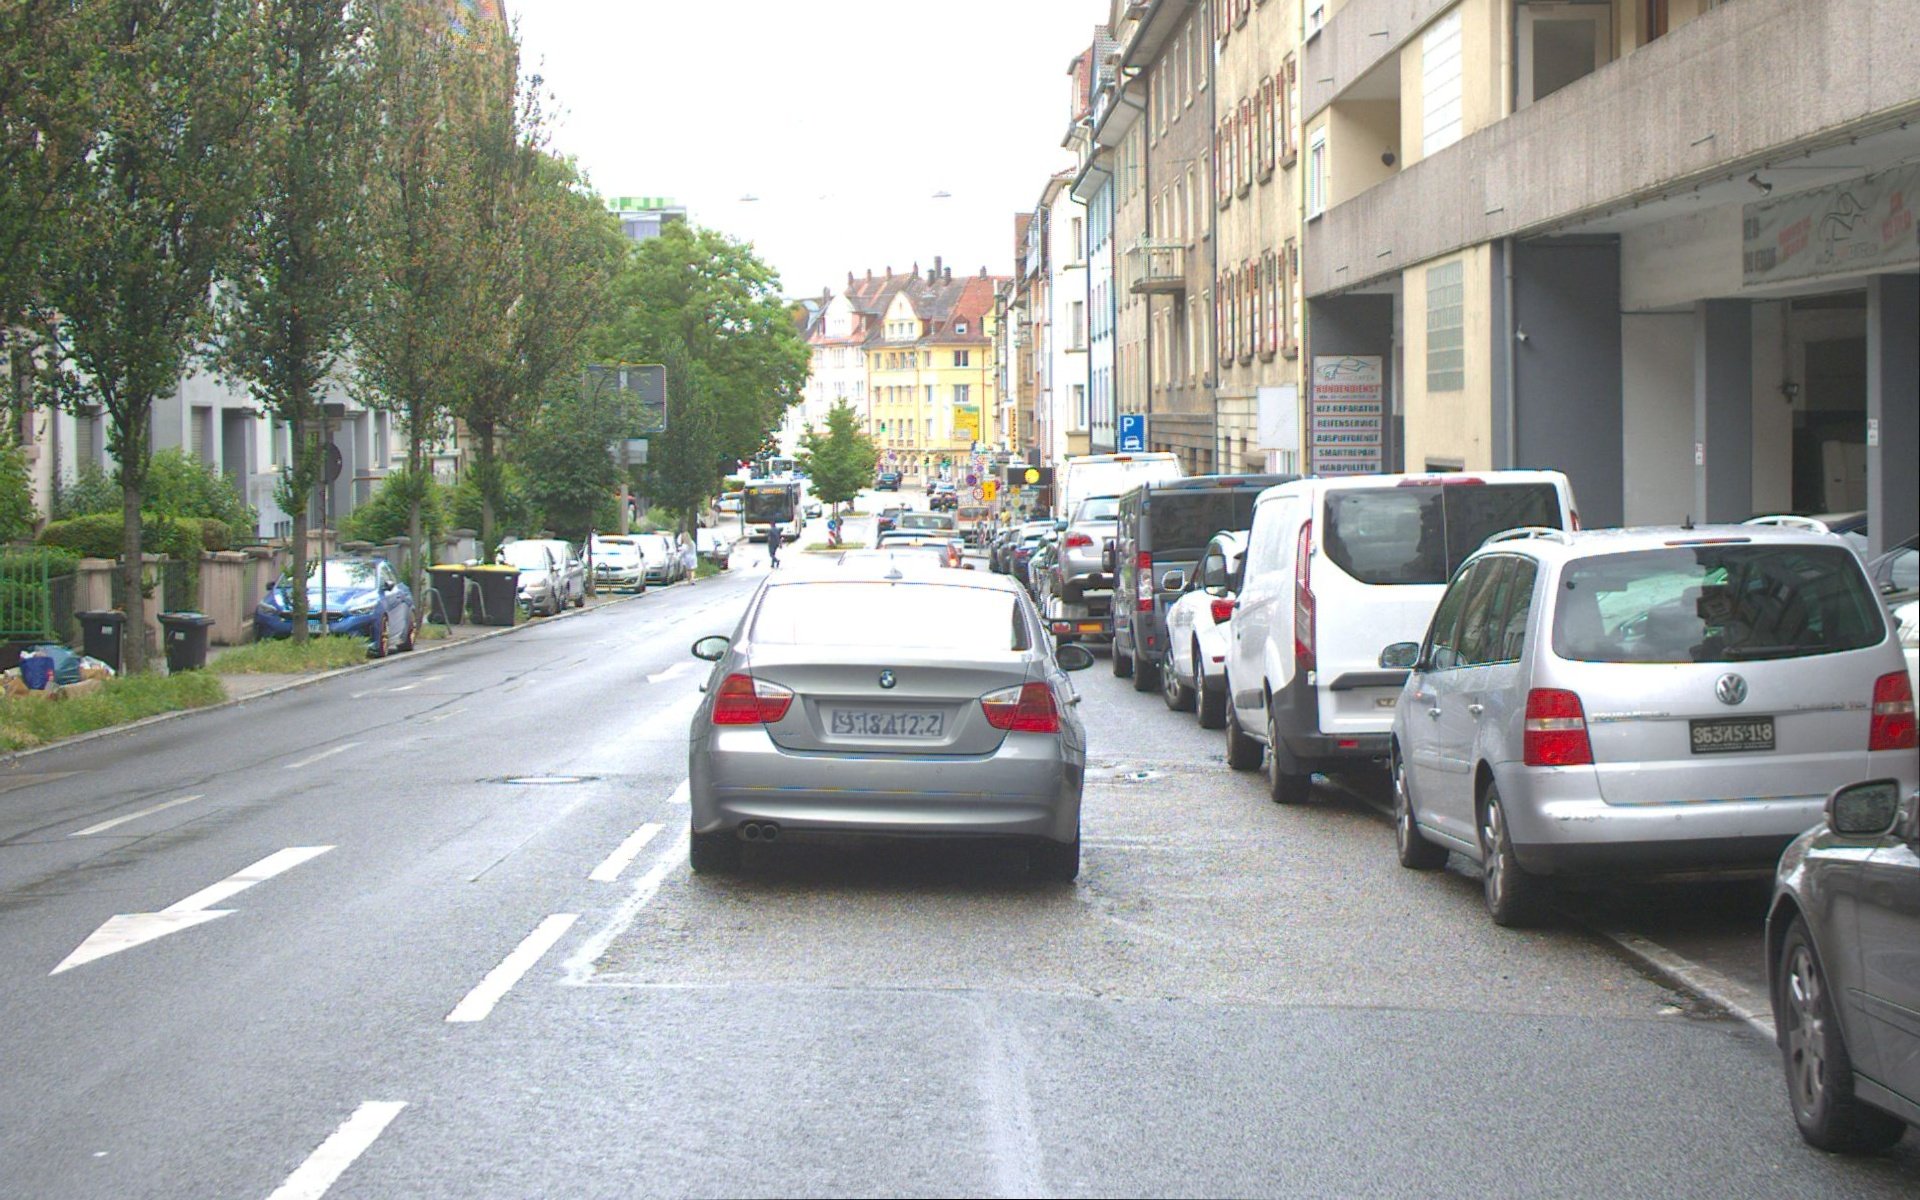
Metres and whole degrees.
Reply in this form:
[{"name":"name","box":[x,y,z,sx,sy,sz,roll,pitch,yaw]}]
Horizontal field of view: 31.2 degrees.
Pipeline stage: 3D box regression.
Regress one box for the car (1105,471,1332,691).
[{"name":"car","box":[2.700,-0.236,36.908,1.982,2.158,4.750,-1,1,-1]}]

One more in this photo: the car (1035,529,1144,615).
[{"name":"car","box":[2.311,-0.519,62.217,1.697,1.478,3.976,1,1,-1]}]

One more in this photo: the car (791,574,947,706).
[{"name":"car","box":[-1.028,0.439,40.561,1.682,1.423,3.741,1,1,1]}]

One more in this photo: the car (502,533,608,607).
[{"name":"car","box":[-9.002,-0.684,76.593,1.827,1.518,3.736,-2,1,1]}]

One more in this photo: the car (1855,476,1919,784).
[{"name":"car","box":[7.707,0.152,20.848,4.329,1.798,2.005,0,3,17]}]

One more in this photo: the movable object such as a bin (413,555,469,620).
[{"name":"movable object such as a bin","box":[-9.482,-0.240,62.819,0.902,1.164,0.895,0,1,0]}]

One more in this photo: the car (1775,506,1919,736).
[{"name":"car","box":[8.288,0.134,25.589,4.289,1.635,1.666,0,3,12]}]

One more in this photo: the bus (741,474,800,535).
[{"name":"bus","box":[-9.783,-4.907,177.996,2.668,3.014,7.671,-1,1,-1]}]

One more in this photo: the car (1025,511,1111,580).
[{"name":"car","box":[2.408,-1.227,77.337,1.697,1.478,3.976,1,1,-1]}]

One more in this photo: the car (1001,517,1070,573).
[{"name":"car","box":[2.079,-1.521,95.311,1.697,1.478,3.976,1,1,-1]}]

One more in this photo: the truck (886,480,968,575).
[{"name":"truck","box":[-0.898,-1.888,90.527,2.032,2.404,4.827,1,1,-1]}]

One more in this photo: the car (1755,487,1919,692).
[{"name":"car","box":[8.831,-0.110,28.609,4.289,1.635,1.666,0,3,12]}]

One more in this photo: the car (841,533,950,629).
[{"name":"car","box":[-1.057,-0.318,56.075,1.697,1.478,3.794,1,1,-1]}]

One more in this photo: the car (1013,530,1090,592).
[{"name":"car","box":[2.253,-0.977,85.478,1.697,1.478,3.976,1,1,-1]}]

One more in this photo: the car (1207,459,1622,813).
[{"name":"car","box":[2.796,0.165,22.206,1.982,2.000,4.625,-1,1,-1]}]

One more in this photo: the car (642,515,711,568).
[{"name":"car","box":[-8.525,-1.779,103.633,1.691,1.518,3.736,-2,1,1]}]

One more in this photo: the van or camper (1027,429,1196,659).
[{"name":"van or camper","box":[2.114,-0.788,47.443,2.033,2.859,6.884,3,1,3]}]

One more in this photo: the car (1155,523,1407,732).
[{"name":"car","box":[2.736,0.184,30.143,1.726,1.664,4.289,-1,1,-1]}]

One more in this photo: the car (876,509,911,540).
[{"name":"car","box":[-3.316,-3.762,171.987,1.697,1.478,3.794,-2,1,-1]}]

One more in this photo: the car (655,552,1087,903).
[{"name":"car","box":[-0.352,0.517,16.169,1.769,1.423,3.741,1,0,1]}]

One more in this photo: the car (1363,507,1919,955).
[{"name":"car","box":[2.977,0.462,15.419,1.726,1.664,4.289,-2,1,-1]}]

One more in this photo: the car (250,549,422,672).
[{"name":"car","box":[-8.842,0.108,48.982,1.766,1.588,4.001,-2,1,-2]}]

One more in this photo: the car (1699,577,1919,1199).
[{"name":"car","box":[3.066,0.700,7.349,1.900,1.473,4.799,-3,1,0]}]

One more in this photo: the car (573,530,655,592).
[{"name":"car","box":[-9.116,-1.044,90.784,1.691,1.518,3.736,-2,1,1]}]

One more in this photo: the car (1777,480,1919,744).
[{"name":"car","box":[7.822,0.047,23.463,4.327,1.720,1.908,0,3,12]}]

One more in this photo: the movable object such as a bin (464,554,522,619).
[{"name":"movable object such as a bin","box":[-8.520,-0.257,62.776,0.935,1.164,0.909,0,1,0]}]

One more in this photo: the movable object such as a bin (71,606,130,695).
[{"name":"movable object such as a bin","box":[-9.146,0.534,36.570,0.574,0.909,0.640,-2,1,-15]}]

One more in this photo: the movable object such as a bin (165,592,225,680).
[{"name":"movable object such as a bin","box":[-8.153,0.379,36.633,0.574,0.909,0.640,-2,1,-15]}]

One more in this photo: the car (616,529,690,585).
[{"name":"car","box":[-8.757,-1.242,98.181,1.691,1.518,3.736,-2,1,1]}]

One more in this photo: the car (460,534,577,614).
[{"name":"car","box":[-9.016,-0.551,70.421,1.827,1.518,3.736,-2,1,1]}]
